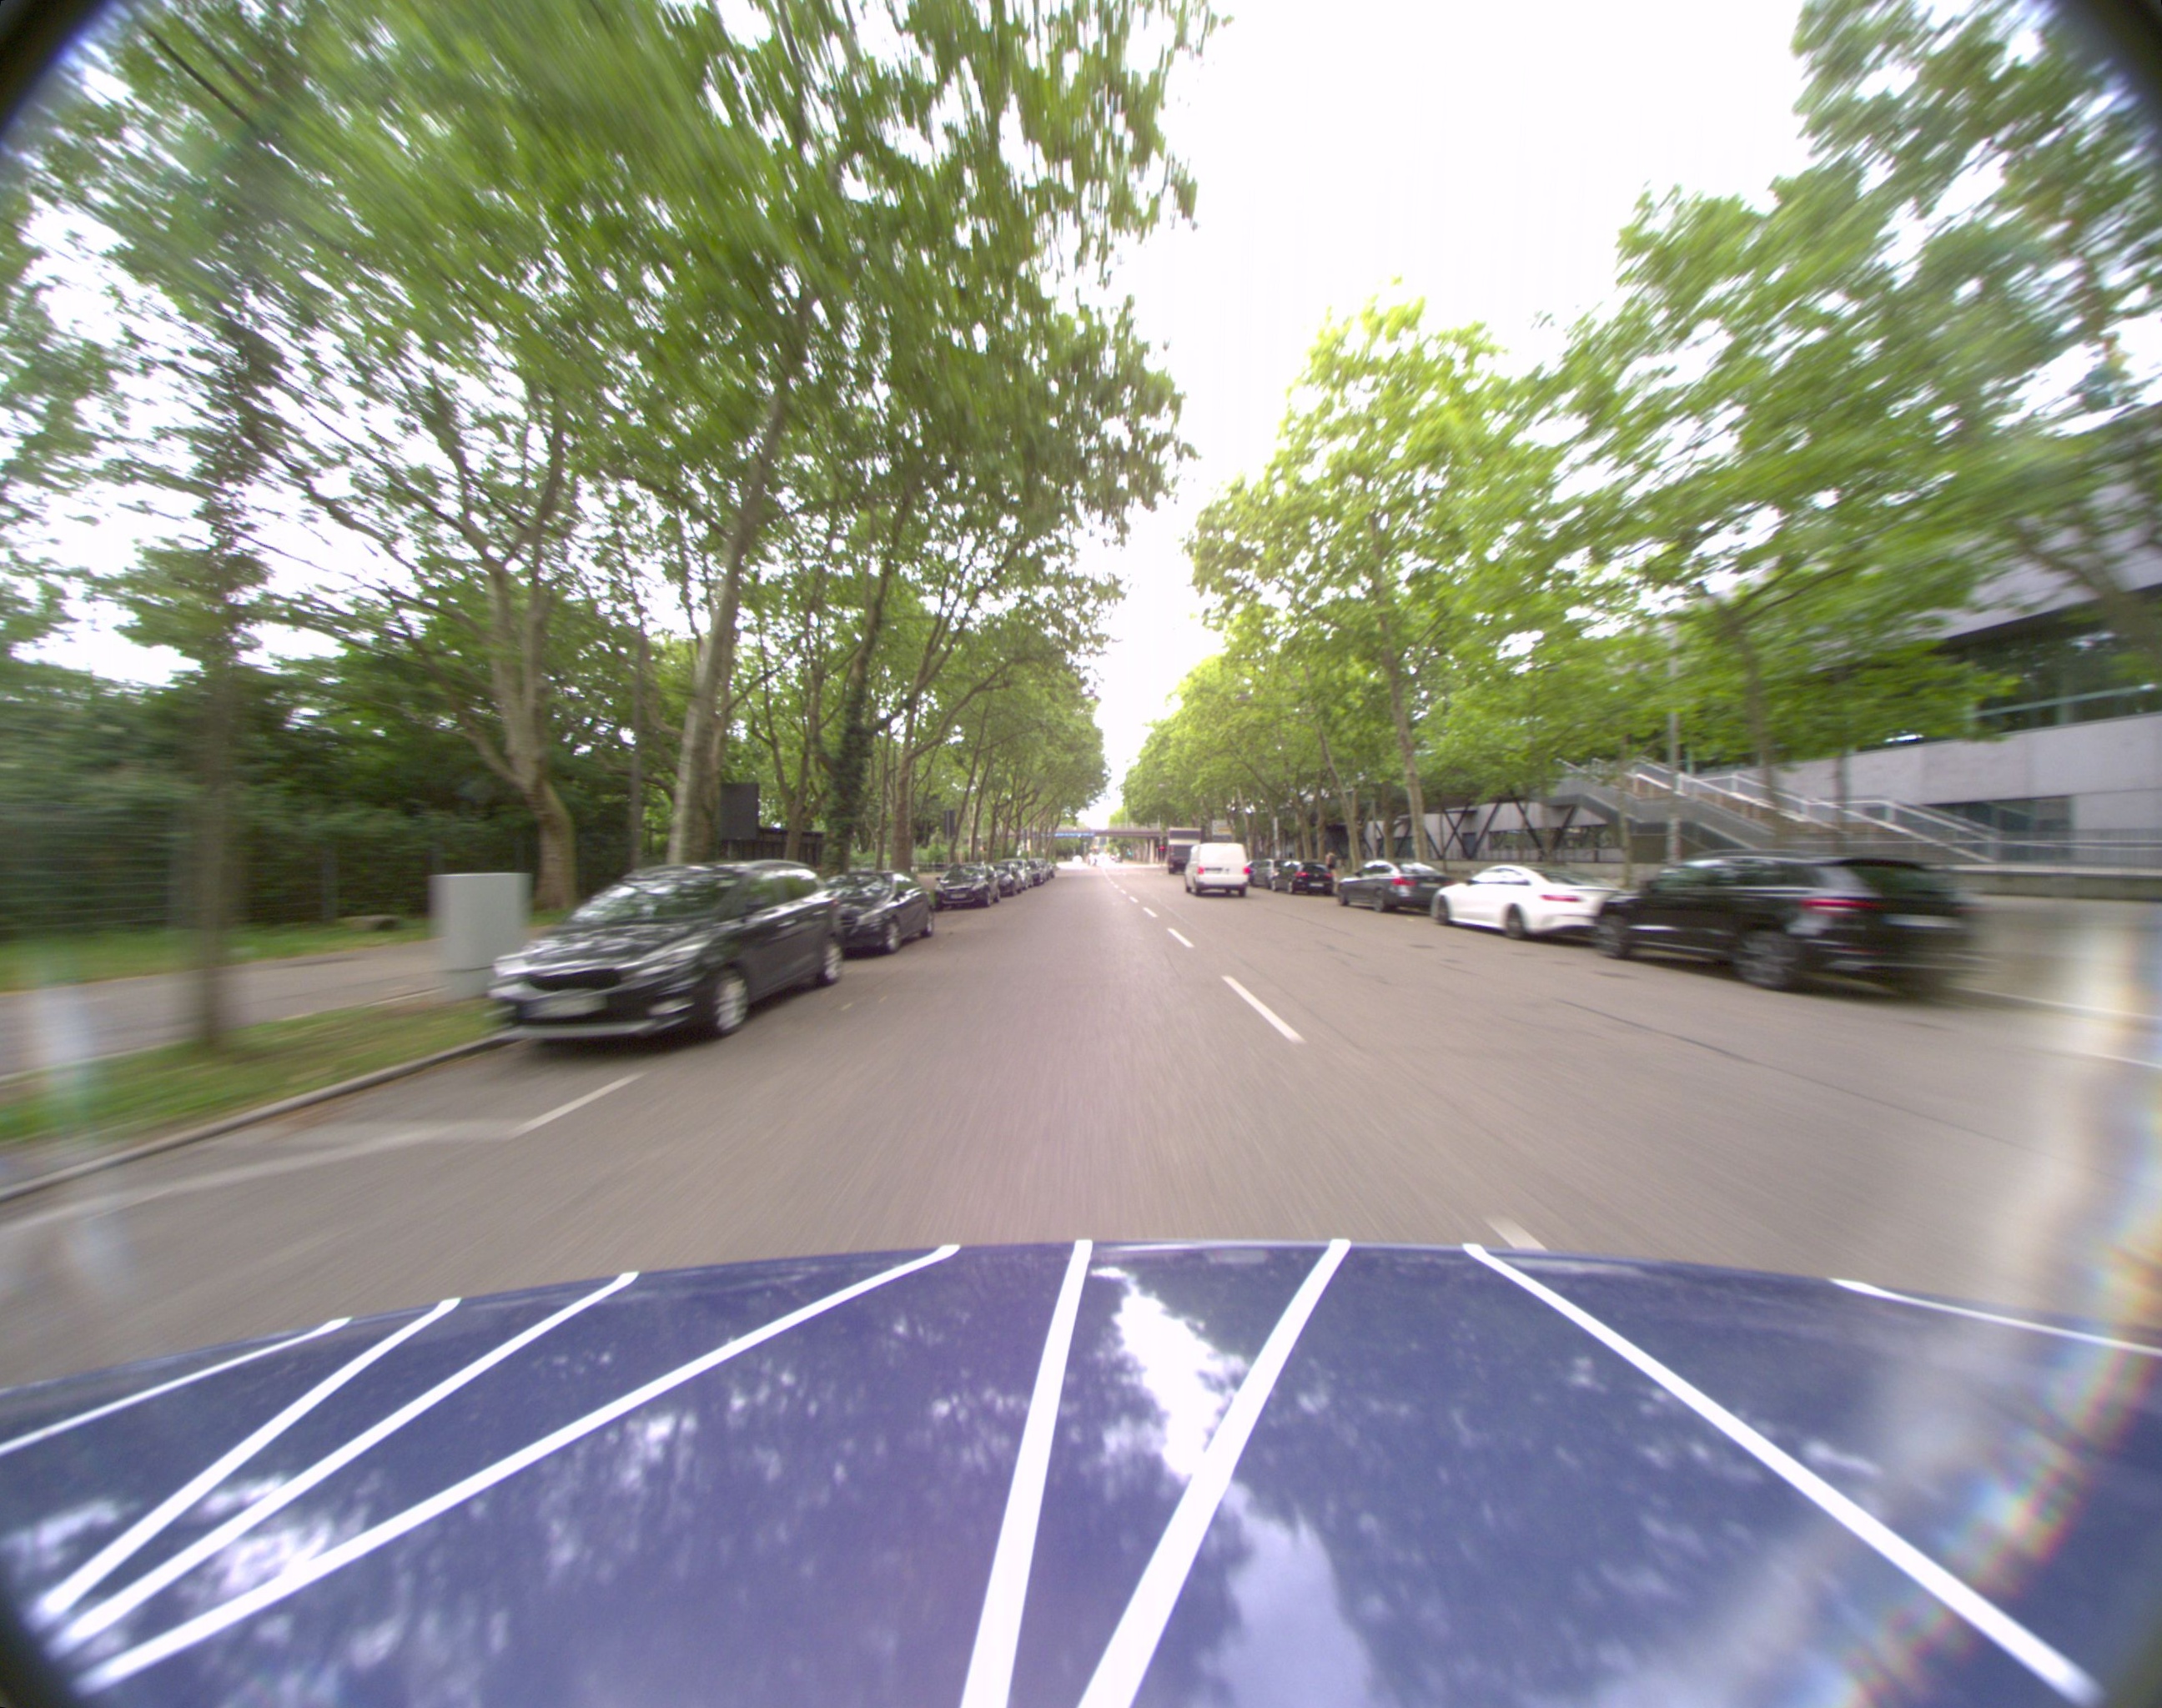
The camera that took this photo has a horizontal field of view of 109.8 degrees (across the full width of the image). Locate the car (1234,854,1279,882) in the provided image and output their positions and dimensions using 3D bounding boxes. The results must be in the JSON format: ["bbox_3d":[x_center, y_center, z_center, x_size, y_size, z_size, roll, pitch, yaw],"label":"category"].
[{"bbox_3d":[9.650,0.735,42.052,1.698,1.354,4.001,4,0,3],"label":"car"}]

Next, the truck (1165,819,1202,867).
[{"bbox_3d":[9.071,-0.979,66.805,2.915,3.846,9.472,1,1,8],"label":"truck"}]

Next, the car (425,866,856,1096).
[{"bbox_3d":[-4.013,0.999,8.016,1.834,1.593,4.467,-3,0,0],"label":"car"}]

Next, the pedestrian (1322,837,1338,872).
[{"bbox_3d":[13.079,0.030,39.915,0.508,1.829,0.826,-1,1,-5],"label":"pedestrian"}]

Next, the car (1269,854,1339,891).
[{"bbox_3d":[9.397,0.738,32.349,1.712,1.374,4.331,3,0,1],"label":"car"}]

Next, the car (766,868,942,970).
[{"bbox_3d":[-3.939,1.059,14.009,1.780,1.410,4.287,-3,0,2],"label":"car"}]

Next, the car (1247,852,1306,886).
[{"bbox_3d":[9.538,0.698,37.324,1.699,1.469,3.649,3,0,-4],"label":"car"}]

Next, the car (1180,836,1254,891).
[{"bbox_3d":[5.214,0.355,29.791,2.064,1.950,5.466,0,0,2],"label":"car"}]

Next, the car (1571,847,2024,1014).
[{"bbox_3d":[8.556,0.749,9.777,1.822,1.584,4.345,2,1,3],"label":"car"}]

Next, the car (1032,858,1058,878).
[{"bbox_3d":[-2.852,1.104,60.727,1.734,1.460,4.080,-3,0,0],"label":"car"}]

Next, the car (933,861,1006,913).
[{"bbox_3d":[-3.758,1.063,26.276,1.781,1.544,4.396,-3,0,0],"label":"car"}]

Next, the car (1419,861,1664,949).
[{"bbox_3d":[8.703,0.866,15.037,1.820,1.354,5.005,1,0,0],"label":"car"}]

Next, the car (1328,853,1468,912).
[{"bbox_3d":[8.883,0.723,21.844,1.824,1.476,4.992,1,0,-2],"label":"car"}]

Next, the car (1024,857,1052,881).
[{"bbox_3d":[-3.045,1.021,54.709,1.734,1.560,4.079,-3,0,0],"label":"car"}]

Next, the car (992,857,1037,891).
[{"bbox_3d":[-3.431,0.991,39.664,1.783,1.608,4.225,-3,0,2],"label":"car"}]

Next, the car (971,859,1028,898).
[{"bbox_3d":[-3.469,1.017,33.017,1.743,1.462,4.152,-3,0,3],"label":"car"}]

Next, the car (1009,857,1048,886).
[{"bbox_3d":[-3.020,0.976,44.552,1.734,1.468,4.983,-3,0,2],"label":"car"}]
